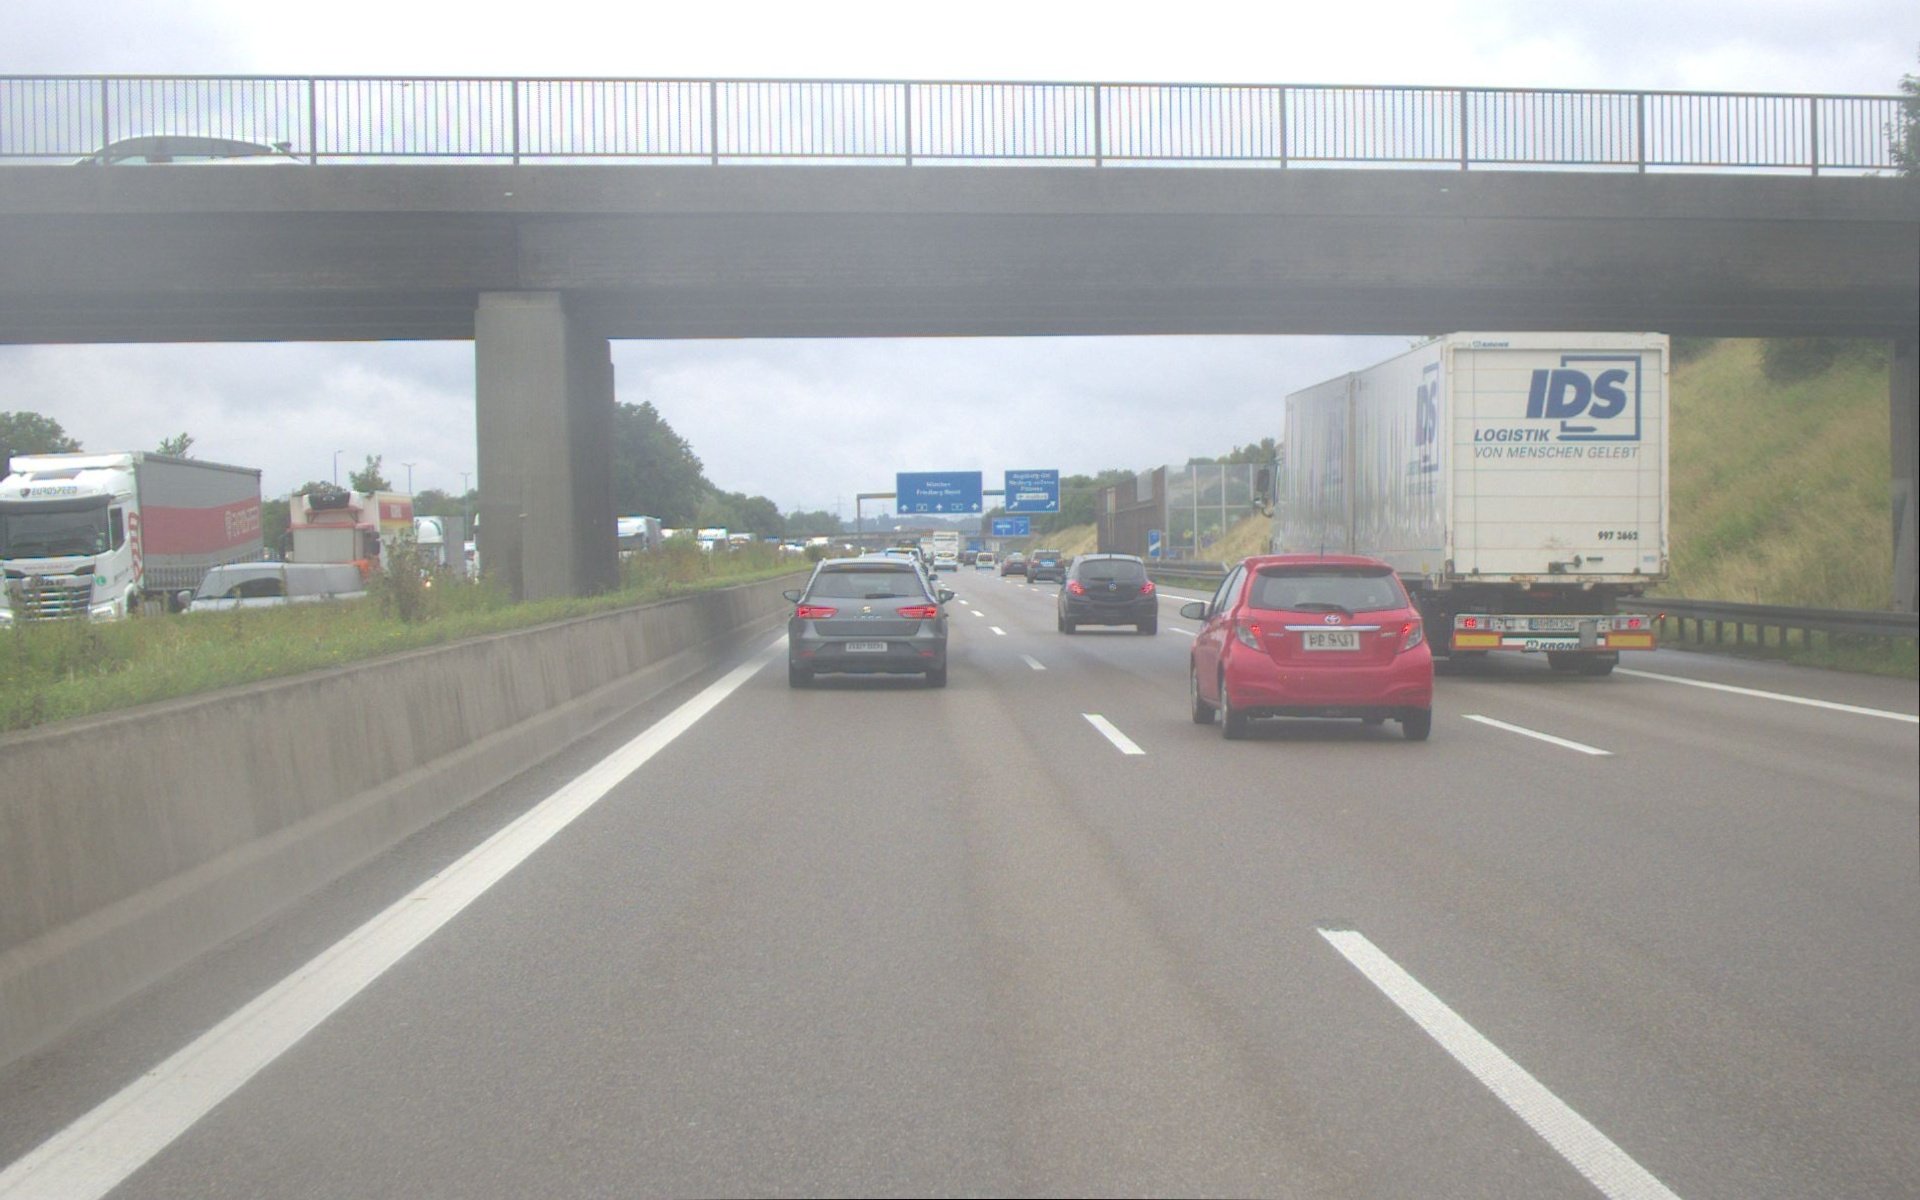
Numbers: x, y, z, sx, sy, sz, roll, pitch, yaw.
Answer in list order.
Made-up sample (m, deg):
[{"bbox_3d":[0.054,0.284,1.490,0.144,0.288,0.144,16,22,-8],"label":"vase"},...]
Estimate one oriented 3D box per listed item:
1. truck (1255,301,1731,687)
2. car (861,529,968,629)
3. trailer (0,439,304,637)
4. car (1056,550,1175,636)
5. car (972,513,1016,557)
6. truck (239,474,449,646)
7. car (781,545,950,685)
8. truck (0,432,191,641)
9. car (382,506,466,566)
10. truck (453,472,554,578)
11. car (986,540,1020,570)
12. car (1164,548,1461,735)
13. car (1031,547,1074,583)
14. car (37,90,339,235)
[{"bbox_3d":[6.825,-1.253,48.261,3.283,4.280,19.034,1,0,-1],"label":"truck"},{"bbox_3d":[-0.899,-0.438,68.083,1.993,1.854,4.000,-2,1,-1],"label":"car"},{"bbox_3d":[-17.994,-1.318,77.946,3.323,3.965,15.745,1,0,-1],"label":"trailer"},{"bbox_3d":[2.833,-0.155,63.553,1.921,1.516,4.622,0,1,-1],"label":"car"},{"bbox_3d":[1.611,-3.070,163.784,1.993,2.007,4.000,1,0,-1],"label":"car"},{"bbox_3d":[-18.958,-1.215,107.091,4.033,4.927,14.434,1,0,-1],"label":"truck"},{"bbox_3d":[-1.053,0.148,38.496,1.768,1.462,4.000,1,0,-1],"label":"car"},{"bbox_3d":[-17.883,-1.265,69.968,3.272,4.031,5.293,1,0,-1],"label":"truck"},{"bbox_3d":[-18.923,-2.253,121.583,2.156,2.007,5.238,1,0,0],"label":"car"},{"bbox_3d":[-19.321,-3.107,145.908,2.977,4.304,9.669,1,0,0],"label":"truck"},{"bbox_3d":[2.707,-2.804,215.664,1.993,1.806,4.228,-2,1,-1],"label":"car"},{"bbox_3d":[2.883,0.291,29.120,1.891,1.442,4.685,0,1,-2],"label":"car"},{"bbox_3d":[4.474,-1.676,167.069,1.845,1.681,4.000,1,0,-2],"label":"car"},{"bbox_3d":[-10.717,-6.040,47.726,3.986,1.612,1.880,1,0,-14],"label":"car"}]
